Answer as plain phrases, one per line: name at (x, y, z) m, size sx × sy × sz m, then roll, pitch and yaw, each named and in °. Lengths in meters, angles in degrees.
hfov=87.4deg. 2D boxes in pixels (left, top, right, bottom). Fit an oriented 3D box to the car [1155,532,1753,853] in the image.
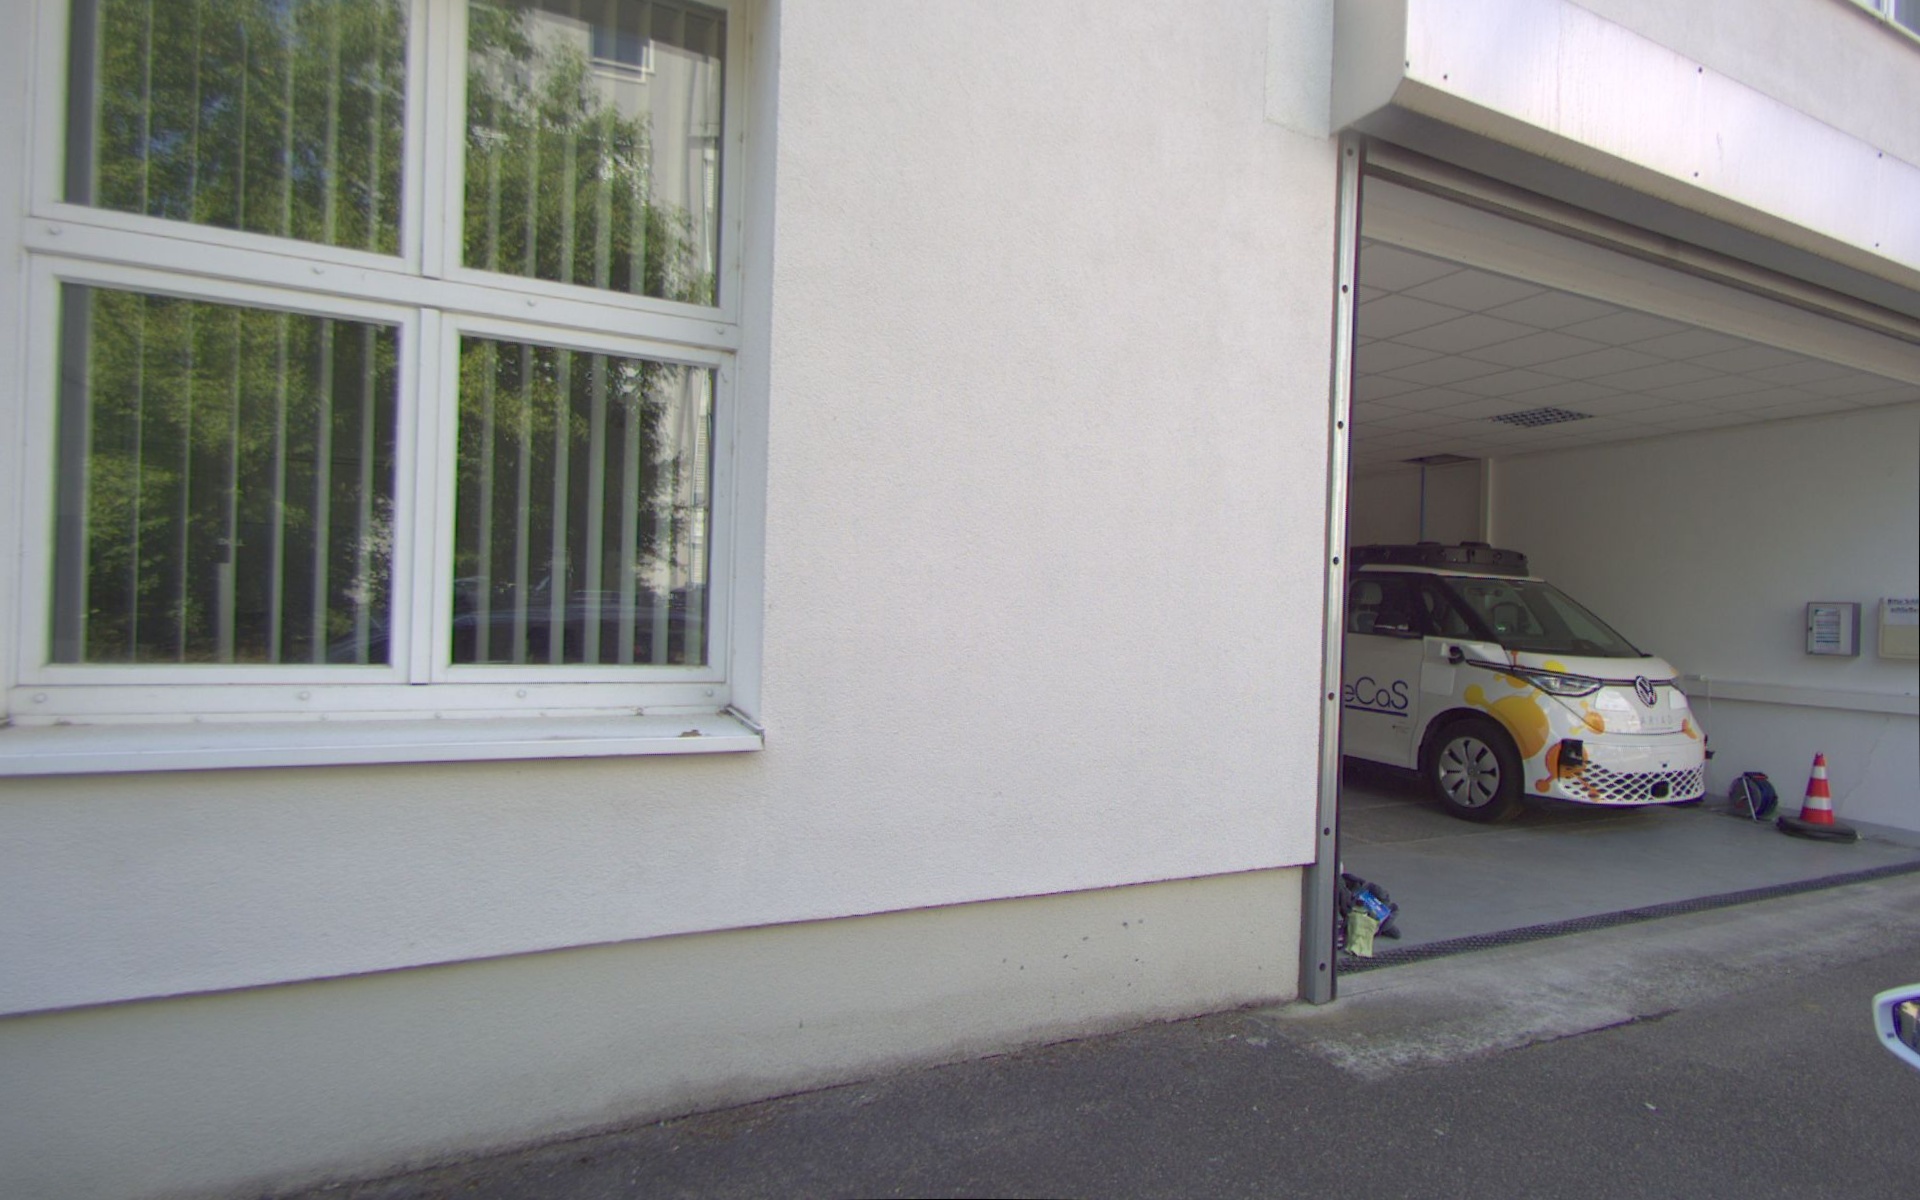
car at (3.876, 0.575, 8.857) m, size 1.954 × 2.052 × 4.466 m, roll 2°, pitch 0°, yaw -25°
